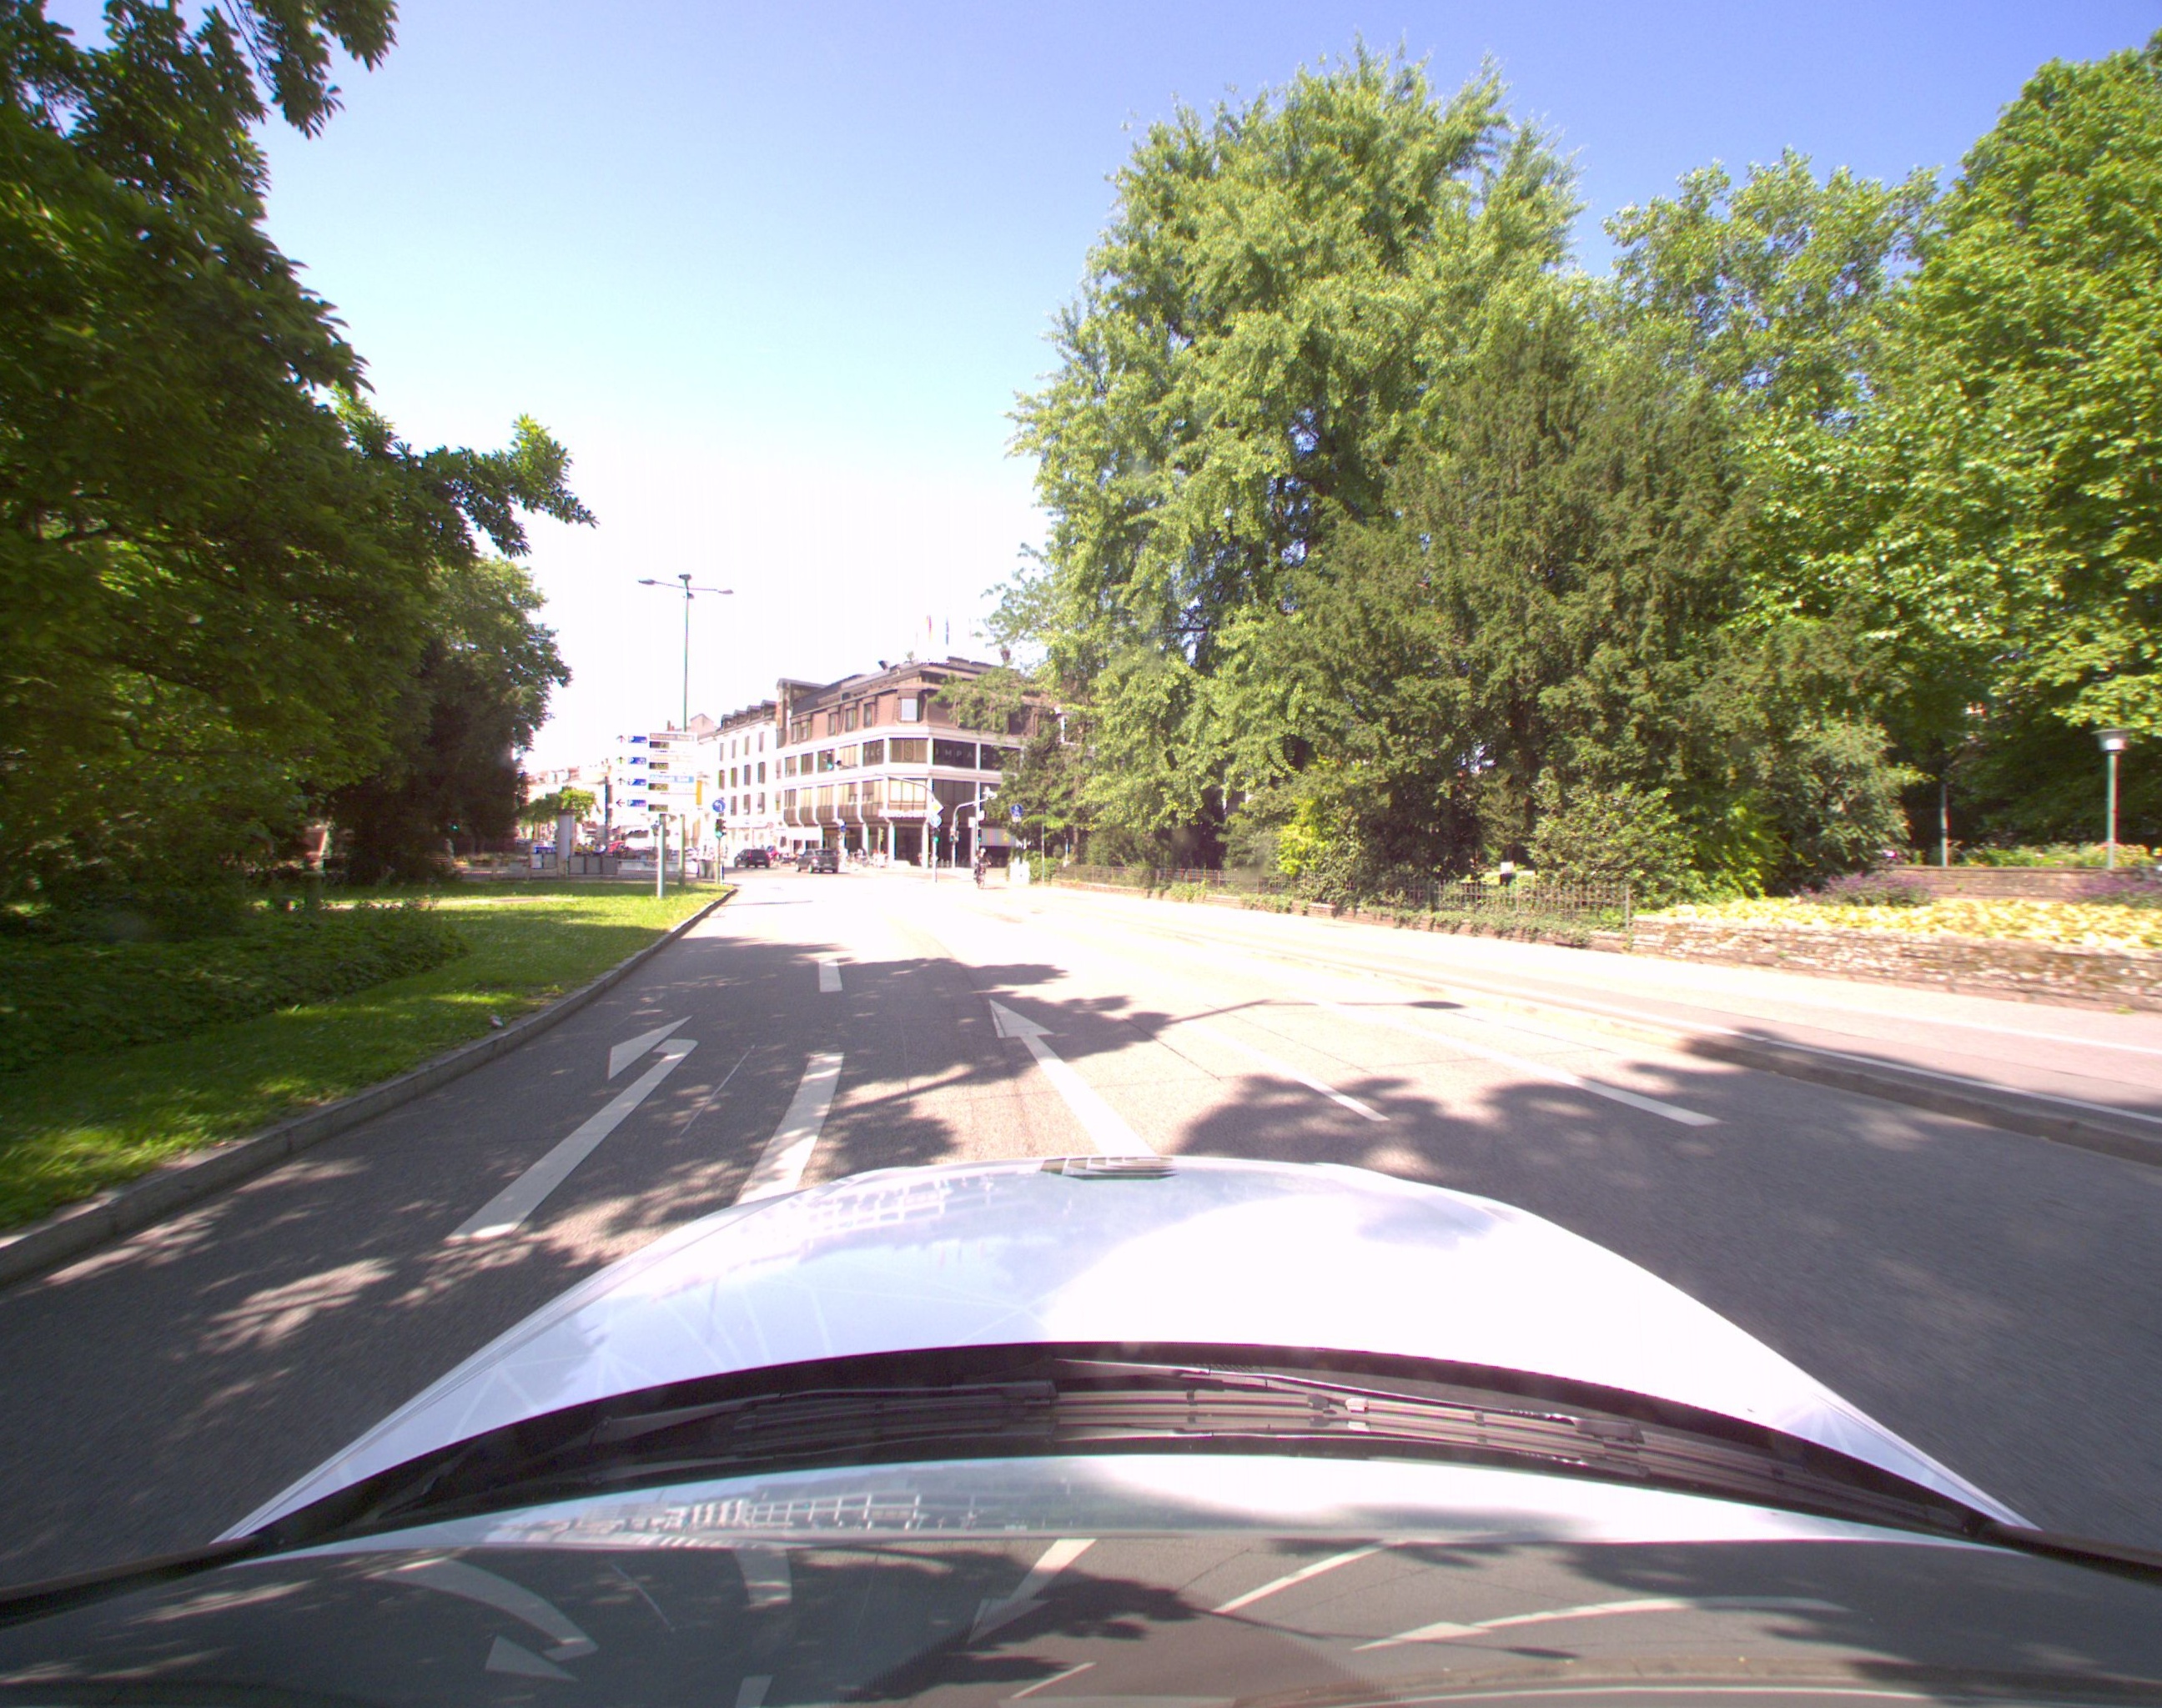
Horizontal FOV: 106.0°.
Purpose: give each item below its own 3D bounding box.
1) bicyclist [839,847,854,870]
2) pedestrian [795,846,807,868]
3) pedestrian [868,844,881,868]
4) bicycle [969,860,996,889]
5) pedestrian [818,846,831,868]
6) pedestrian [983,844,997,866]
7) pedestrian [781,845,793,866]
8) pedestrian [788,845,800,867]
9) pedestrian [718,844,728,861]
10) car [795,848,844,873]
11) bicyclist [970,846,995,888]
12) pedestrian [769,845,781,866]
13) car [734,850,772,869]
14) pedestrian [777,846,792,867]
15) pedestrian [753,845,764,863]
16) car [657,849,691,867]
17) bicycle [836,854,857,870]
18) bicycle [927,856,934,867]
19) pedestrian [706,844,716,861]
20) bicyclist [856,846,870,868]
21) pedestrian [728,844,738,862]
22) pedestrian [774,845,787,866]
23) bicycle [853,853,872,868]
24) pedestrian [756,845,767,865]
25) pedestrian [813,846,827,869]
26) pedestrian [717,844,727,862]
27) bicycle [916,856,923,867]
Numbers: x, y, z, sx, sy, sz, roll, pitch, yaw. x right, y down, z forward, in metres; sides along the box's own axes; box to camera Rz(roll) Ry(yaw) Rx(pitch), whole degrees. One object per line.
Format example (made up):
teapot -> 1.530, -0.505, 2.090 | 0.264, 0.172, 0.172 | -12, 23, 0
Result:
bicyclist -> -18.108, 0.319, 62.933 | 0.756, 1.747, 1.117 | 1, 0, -36
pedestrian -> -23.018, 0.231, 66.963 | 0.777, 1.812, 0.820 | 1, 0, -35
pedestrian -> -16.893, 0.149, 66.702 | 0.777, 1.958, 0.820 | 1, 0, -35
bicycle -> -4.264, 0.869, 35.056 | 0.855, 1.160, 2.072 | 1, 0, -15
pedestrian -> -20.697, 0.232, 65.695 | 0.777, 1.812, 0.820 | 1, 0, -35
pedestrian -> -8.559, 0.095, 76.365 | 0.991, 2.014, 0.854 | 0, 0, -34
pedestrian -> -26.391, 0.131, 73.051 | 0.777, 1.812, 0.820 | 1, 0, -35
pedestrian -> -23.890, 0.180, 67.836 | 0.777, 1.812, 0.820 | 1, 0, -35
pedestrian -> -38.683, -0.123, 88.033 | 0.777, 1.812, 0.820 | 1, 0, -36
car -> -16.888, 0.395, 52.427 | 1.961, 1.537, 4.039 | 0, 0, -34
bicyclist -> -4.243, 0.545, 35.045 | 0.860, 1.796, 1.123 | 1, 0, -16
pedestrian -> -26.717, 0.131, 71.185 | 0.777, 1.812, 0.820 | 1, 0, -35
car -> -25.387, 0.388, 62.927 | 1.840, 1.409, 3.751 | 0, 0, -37
pedestrian -> -25.148, 0.196, 69.064 | 0.981, 1.812, 0.940 | 1, 0, -35
pedestrian -> -32.718, -0.048, 82.656 | 0.777, 1.812, 0.820 | 1, 0, -36
car -> -33.336, 0.298, 66.669 | 1.849, 1.409, 3.750 | 0, 0, -38
bicycle -> -18.137, 0.588, 62.960 | 0.733, 1.180, 2.300 | 1, -1, -37
bicycle -> -12.290, 0.609, 66.605 | 0.507, 0.901, 1.517 | 0, 0, -10
pedestrian -> -39.706, -0.148, 87.443 | 0.777, 1.812, 0.820 | 1, 0, -36
bicyclist -> -18.159, 0.258, 67.753 | 0.756, 1.747, 1.117 | 1, 0, -36
pedestrian -> -36.685, -0.100, 85.742 | 0.777, 1.812, 0.820 | 1, 0, -36
pedestrian -> -25.981, 0.156, 70.406 | 0.777, 1.812, 0.820 | 1, 0, -35
bicycle -> -18.173, 0.518, 67.774 | 0.733, 1.180, 2.300 | 1, -1, -37
pedestrian -> -30.410, 0.103, 77.451 | 0.777, 1.812, 0.820 | 1, 0, -36
pedestrian -> -20.142, 0.262, 62.825 | 0.777, 1.812, 0.820 | 1, 0, -35
pedestrian -> -37.638, -0.122, 85.402 | 0.777, 1.812, 0.820 | 1, 0, -36
bicycle -> -13.172, 0.592, 66.419 | 0.507, 0.901, 1.517 | 0, 0, -10
